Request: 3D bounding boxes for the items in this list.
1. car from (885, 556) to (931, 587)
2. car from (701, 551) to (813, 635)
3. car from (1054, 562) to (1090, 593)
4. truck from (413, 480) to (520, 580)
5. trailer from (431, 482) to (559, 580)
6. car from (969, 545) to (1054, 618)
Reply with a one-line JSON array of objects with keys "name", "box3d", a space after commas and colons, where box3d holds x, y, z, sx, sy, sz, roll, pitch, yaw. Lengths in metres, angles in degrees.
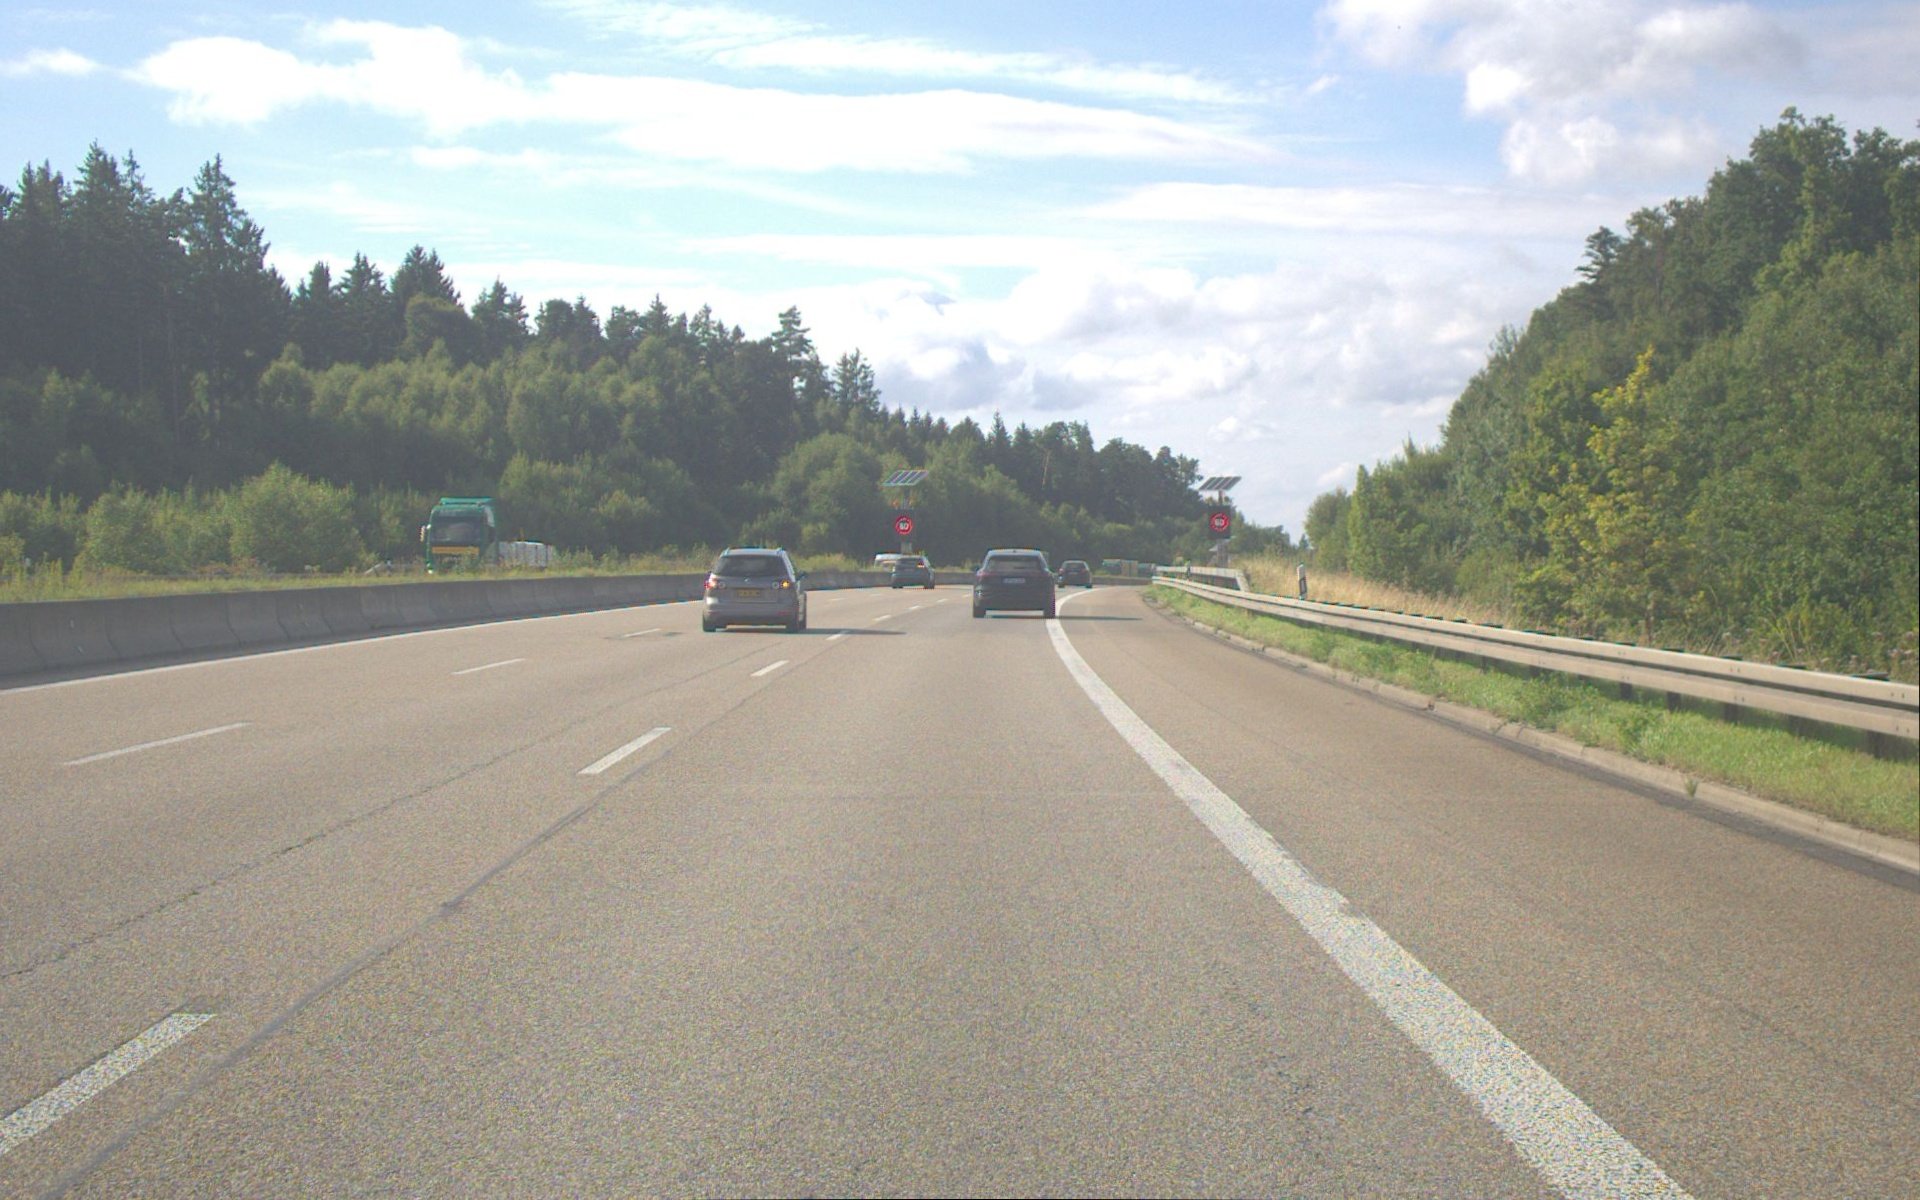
[{"name": "car", "box3d": [-2.567, -1.417, 170.959, 1.874, 1.492, 3.879, 1, 1, 5]}, {"name": "car", "box3d": [-3.781, -0.158, 64.589, 1.873, 1.492, 3.880, 1, 1, 0]}, {"name": "car", "box3d": [6.226, -1.273, 191.336, 1.812, 1.700, 4.000, 0, 1, 5]}, {"name": "truck", "box3d": [-20.305, -2.868, 141.738, 3.375, 3.995, 5.863, 1, 1, 2]}, {"name": "trailer", "box3d": [-20.102, -2.958, 149.560, 3.375, 3.995, 13.640, 1, 1, 1]}, {"name": "car", "box3d": [1.195, -0.459, 81.666, 1.873, 1.669, 3.890, 1, 1, -1]}]
